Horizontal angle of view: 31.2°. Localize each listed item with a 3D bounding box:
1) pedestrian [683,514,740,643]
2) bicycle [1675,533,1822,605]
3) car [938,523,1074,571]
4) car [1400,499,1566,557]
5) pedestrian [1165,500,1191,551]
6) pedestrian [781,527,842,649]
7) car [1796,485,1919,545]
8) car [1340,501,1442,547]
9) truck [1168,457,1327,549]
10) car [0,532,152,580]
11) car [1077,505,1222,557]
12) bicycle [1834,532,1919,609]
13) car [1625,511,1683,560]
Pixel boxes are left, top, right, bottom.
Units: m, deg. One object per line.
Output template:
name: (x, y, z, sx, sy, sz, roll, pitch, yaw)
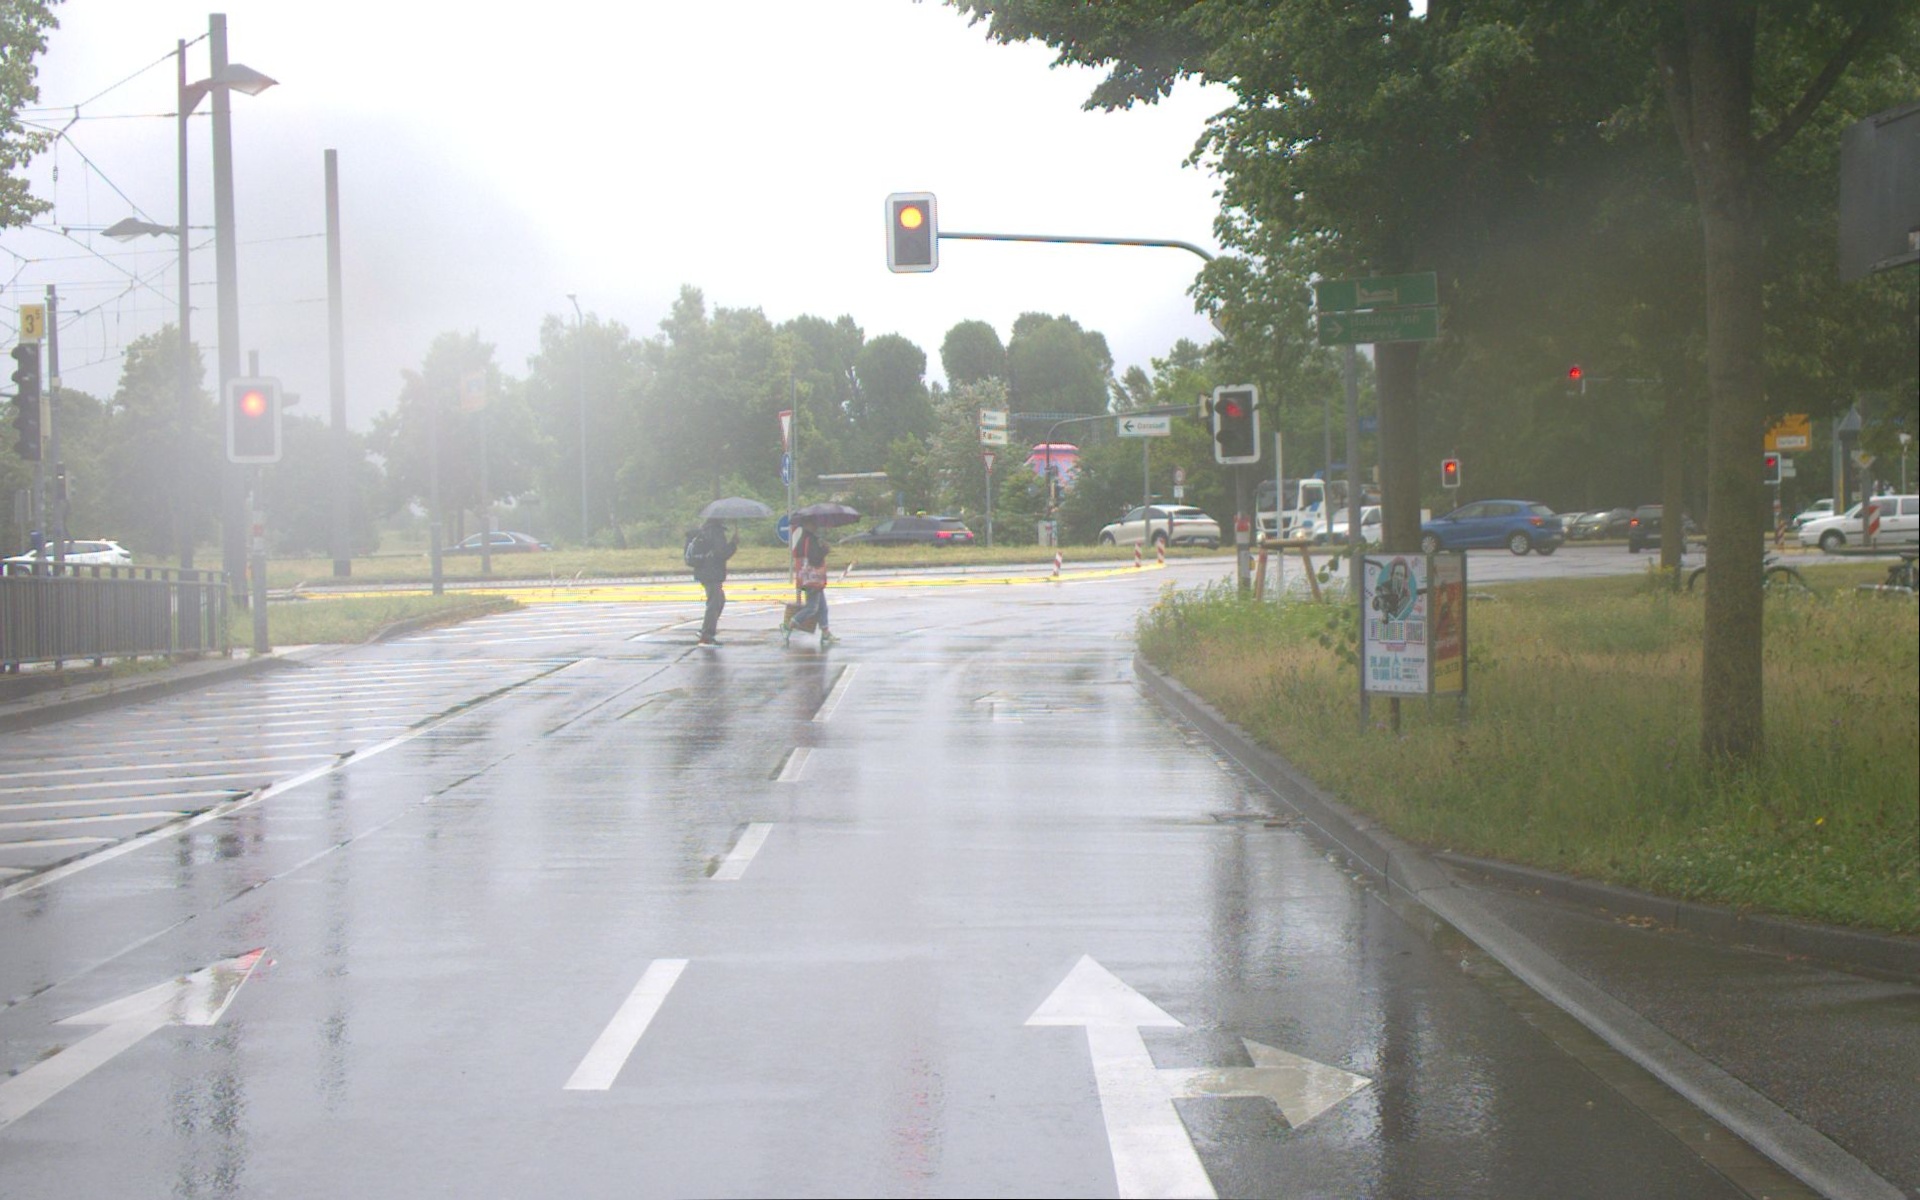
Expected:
pedestrian: (-2.963, -0.259, 41.045, 0.621, 1.517, 0.741, 1, 1, 0)
bicycle: (8.851, -0.357, 38.671, 0.379, 0.784, 1.859, 1, 1, -33)
car: (1.422, -1.649, 107.147, 3.982, 1.449, 1.620, 0, 2, 35)
car: (13.649, -1.884, 89.750, 3.983, 1.449, 1.620, 0, 2, 38)
pedestrian: (5.649, -1.924, 88.898, 0.453, 1.300, 0.485, 0, 2, 40)
pedestrian: (-1.828, -0.147, 42.223, 0.680, 1.456, 0.573, -2, 0, -3)
car: (23.175, -2.164, 86.727, 3.976, 1.449, 1.623, -1, 1, 12)
car: (16.568, -2.916, 131.973, 1.801, 1.656, 4.124, 2, 1, 42)
truck: (9.141, -3.013, 108.391, 2.464, 2.677, 8.049, 1, 1, 24)
car: (-28.559, -1.431, 110.984, 4.606, 1.449, 1.624, -2, 2, -21)
car: (5.504, -2.006, 100.199, 4.110, 1.449, 1.619, 0, 2, 43)
bicycle: (9.897, -0.312, 36.059, 0.452, 0.784, 2.010, 1, 1, -16)
car: (21.166, -1.979, 104.780, 1.619, 1.449, 3.985, -1, 2, 13)
